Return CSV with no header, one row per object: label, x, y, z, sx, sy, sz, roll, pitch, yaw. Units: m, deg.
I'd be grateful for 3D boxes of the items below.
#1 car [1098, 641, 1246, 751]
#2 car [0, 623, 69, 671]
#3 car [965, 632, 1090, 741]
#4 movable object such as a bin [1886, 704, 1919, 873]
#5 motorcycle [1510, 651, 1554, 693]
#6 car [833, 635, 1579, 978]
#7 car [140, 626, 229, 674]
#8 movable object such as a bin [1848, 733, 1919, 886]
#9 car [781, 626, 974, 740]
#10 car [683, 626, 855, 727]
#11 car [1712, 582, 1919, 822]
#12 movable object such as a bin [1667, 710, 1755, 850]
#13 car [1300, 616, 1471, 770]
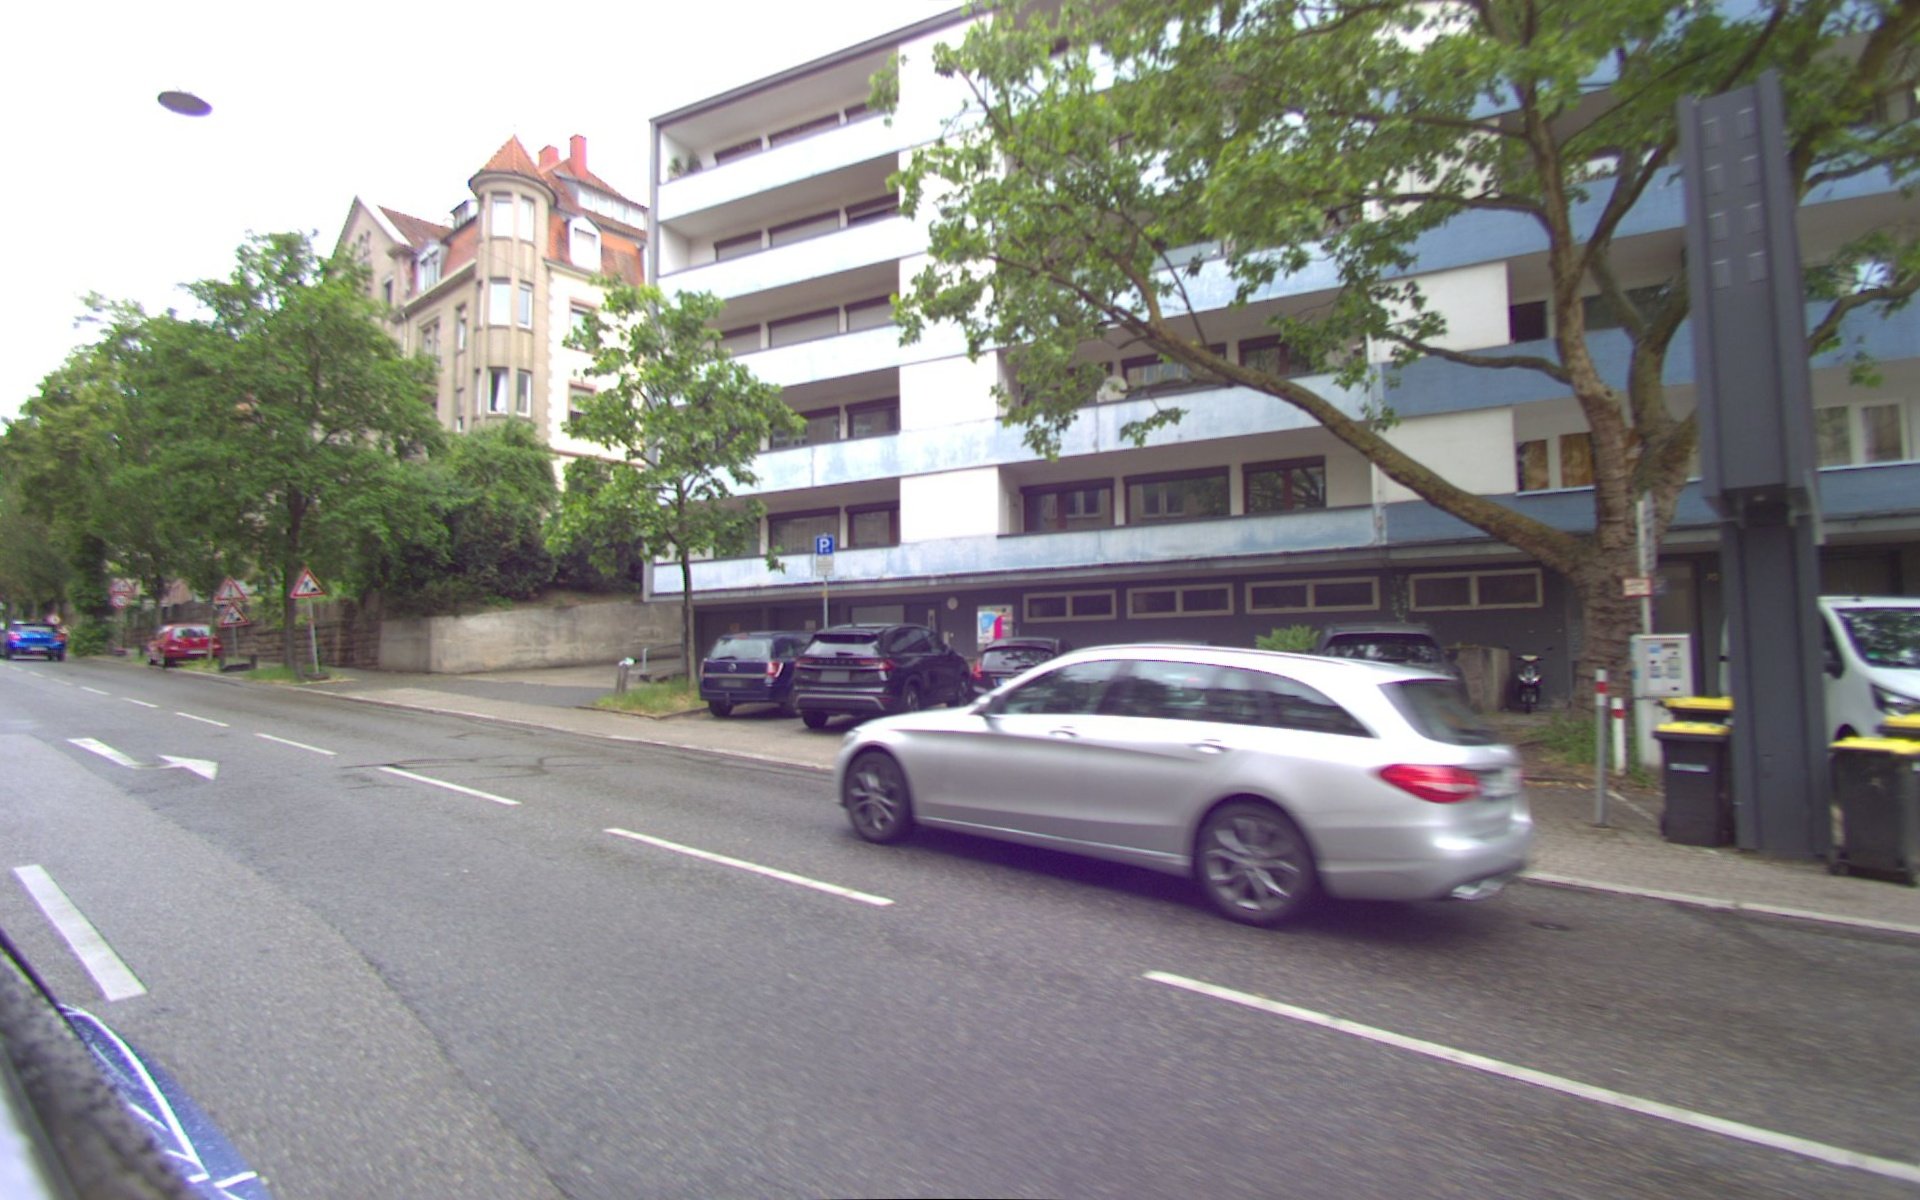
car,3.327,1.343,15.336,1.679,1.416,3.810,-1,-2,20
car,-35.678,1.791,38.770,3.885,1.678,1.770,-2,-6,42
car,1.218,1.315,16.656,1.662,1.416,3.824,0,0,10
movable object such as a bin,6.795,1.288,6.908,0.627,1.088,0.635,-1,-3,38
motorcycle,10.412,1.293,18.402,0.424,0.693,1.653,-2,-2,38
car,1.281,1.006,6.464,4.324,1.459,1.708,-2,-6,42
car,-26.831,1.721,34.969,3.886,1.518,1.729,-2,-6,43
movable object such as a bin,6.187,1.357,6.602,0.545,0.908,0.479,-1,-3,38
car,-1.209,1.258,16.943,1.796,1.605,4.288,0,-1,17
car,-3.397,1.314,18.747,1.753,1.543,3.820,0,0,13
car,9.689,0.885,10.353,1.867,1.992,4.941,-1,-2,21
movable object such as a bin,5.769,1.356,7.779,0.511,0.971,0.479,-1,-3,38
car,5.559,1.105,13.371,1.794,1.702,3.807,0,-2,22
